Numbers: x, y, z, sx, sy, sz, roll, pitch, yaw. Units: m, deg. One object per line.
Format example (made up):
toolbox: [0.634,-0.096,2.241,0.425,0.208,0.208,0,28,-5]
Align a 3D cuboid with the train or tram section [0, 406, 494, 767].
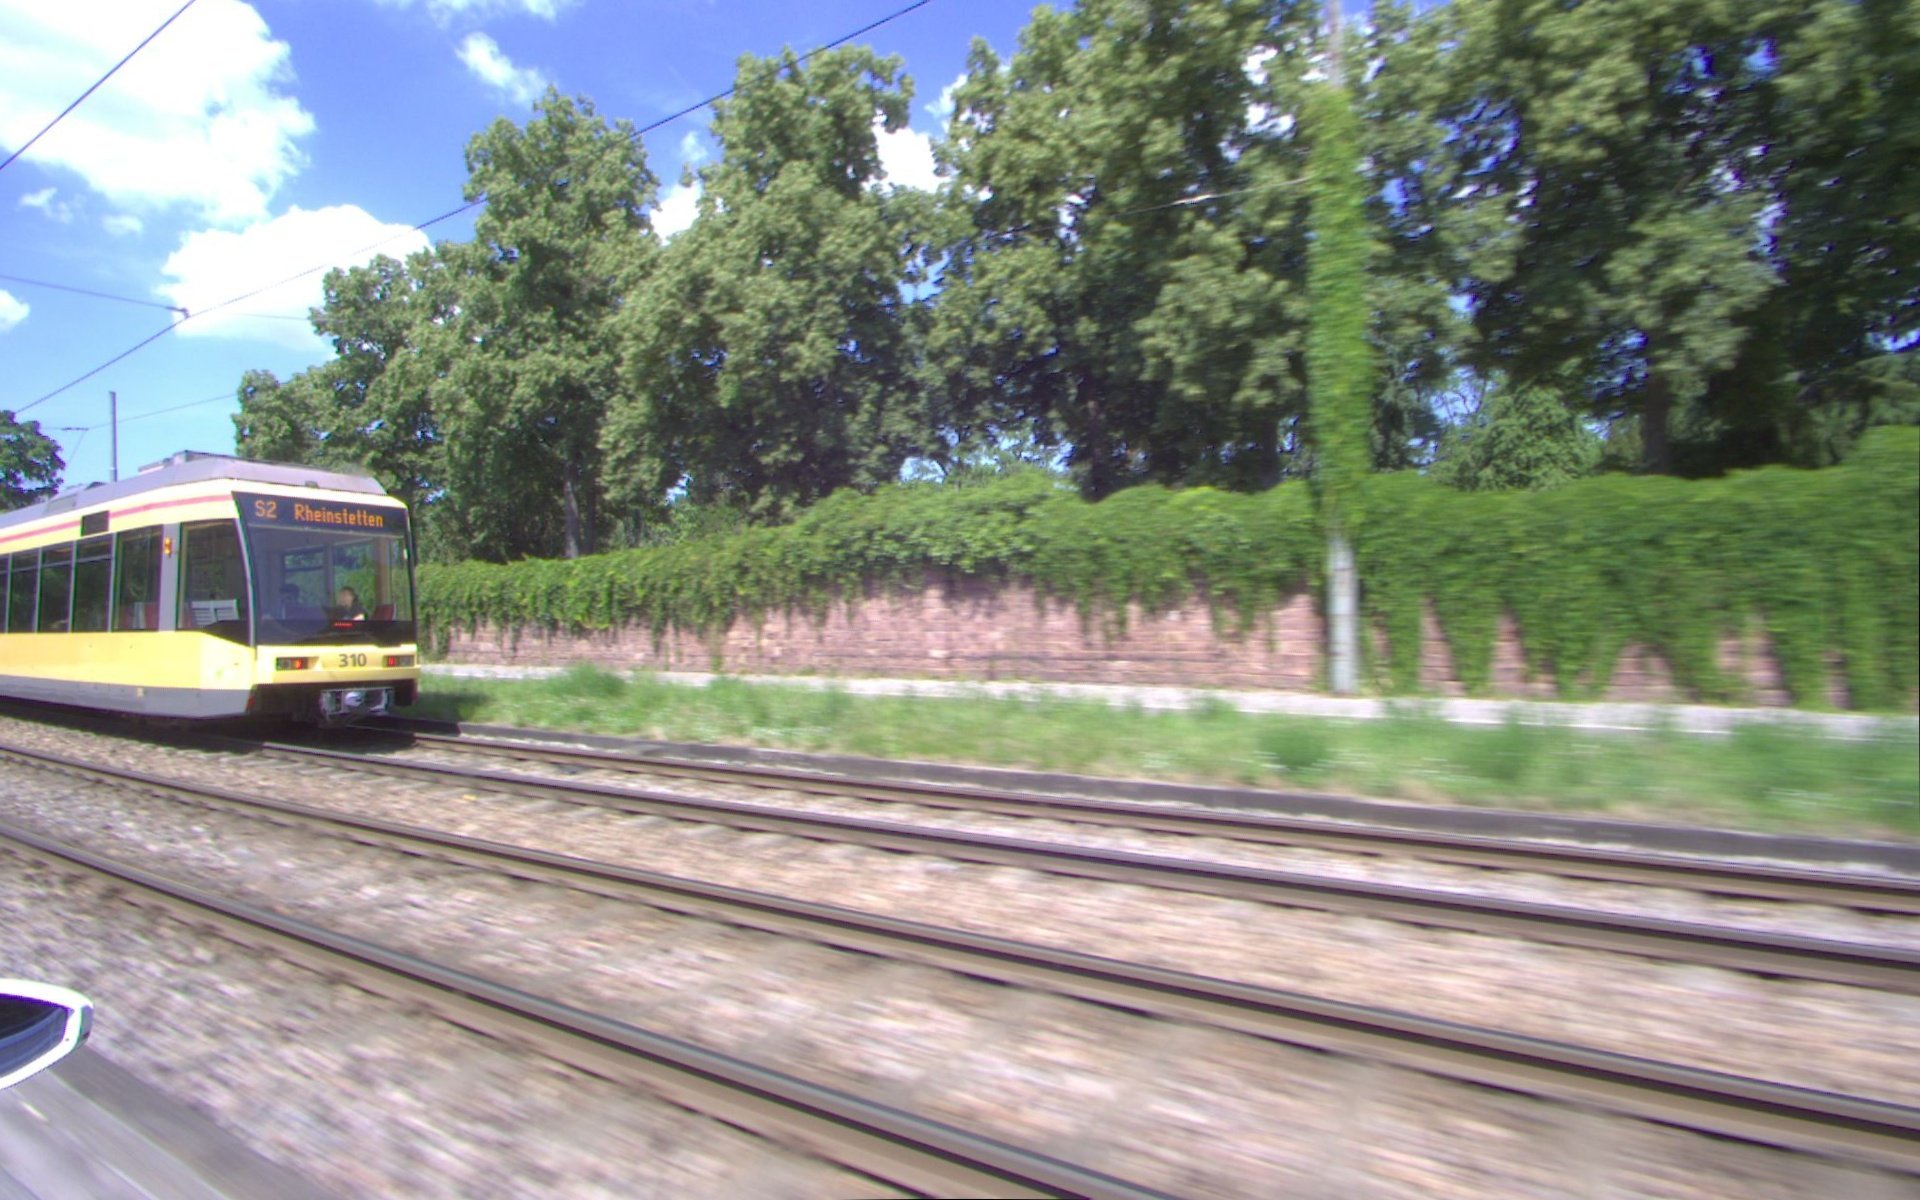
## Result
train or tram section: [-14.141,0.027,16.923,18.146,3.739,2.935,-1,-1,36]

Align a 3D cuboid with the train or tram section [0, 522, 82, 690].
train or tram section: [-29.336,0.277,28.281,20.025,3.739,2.934,-1,-1,37]
